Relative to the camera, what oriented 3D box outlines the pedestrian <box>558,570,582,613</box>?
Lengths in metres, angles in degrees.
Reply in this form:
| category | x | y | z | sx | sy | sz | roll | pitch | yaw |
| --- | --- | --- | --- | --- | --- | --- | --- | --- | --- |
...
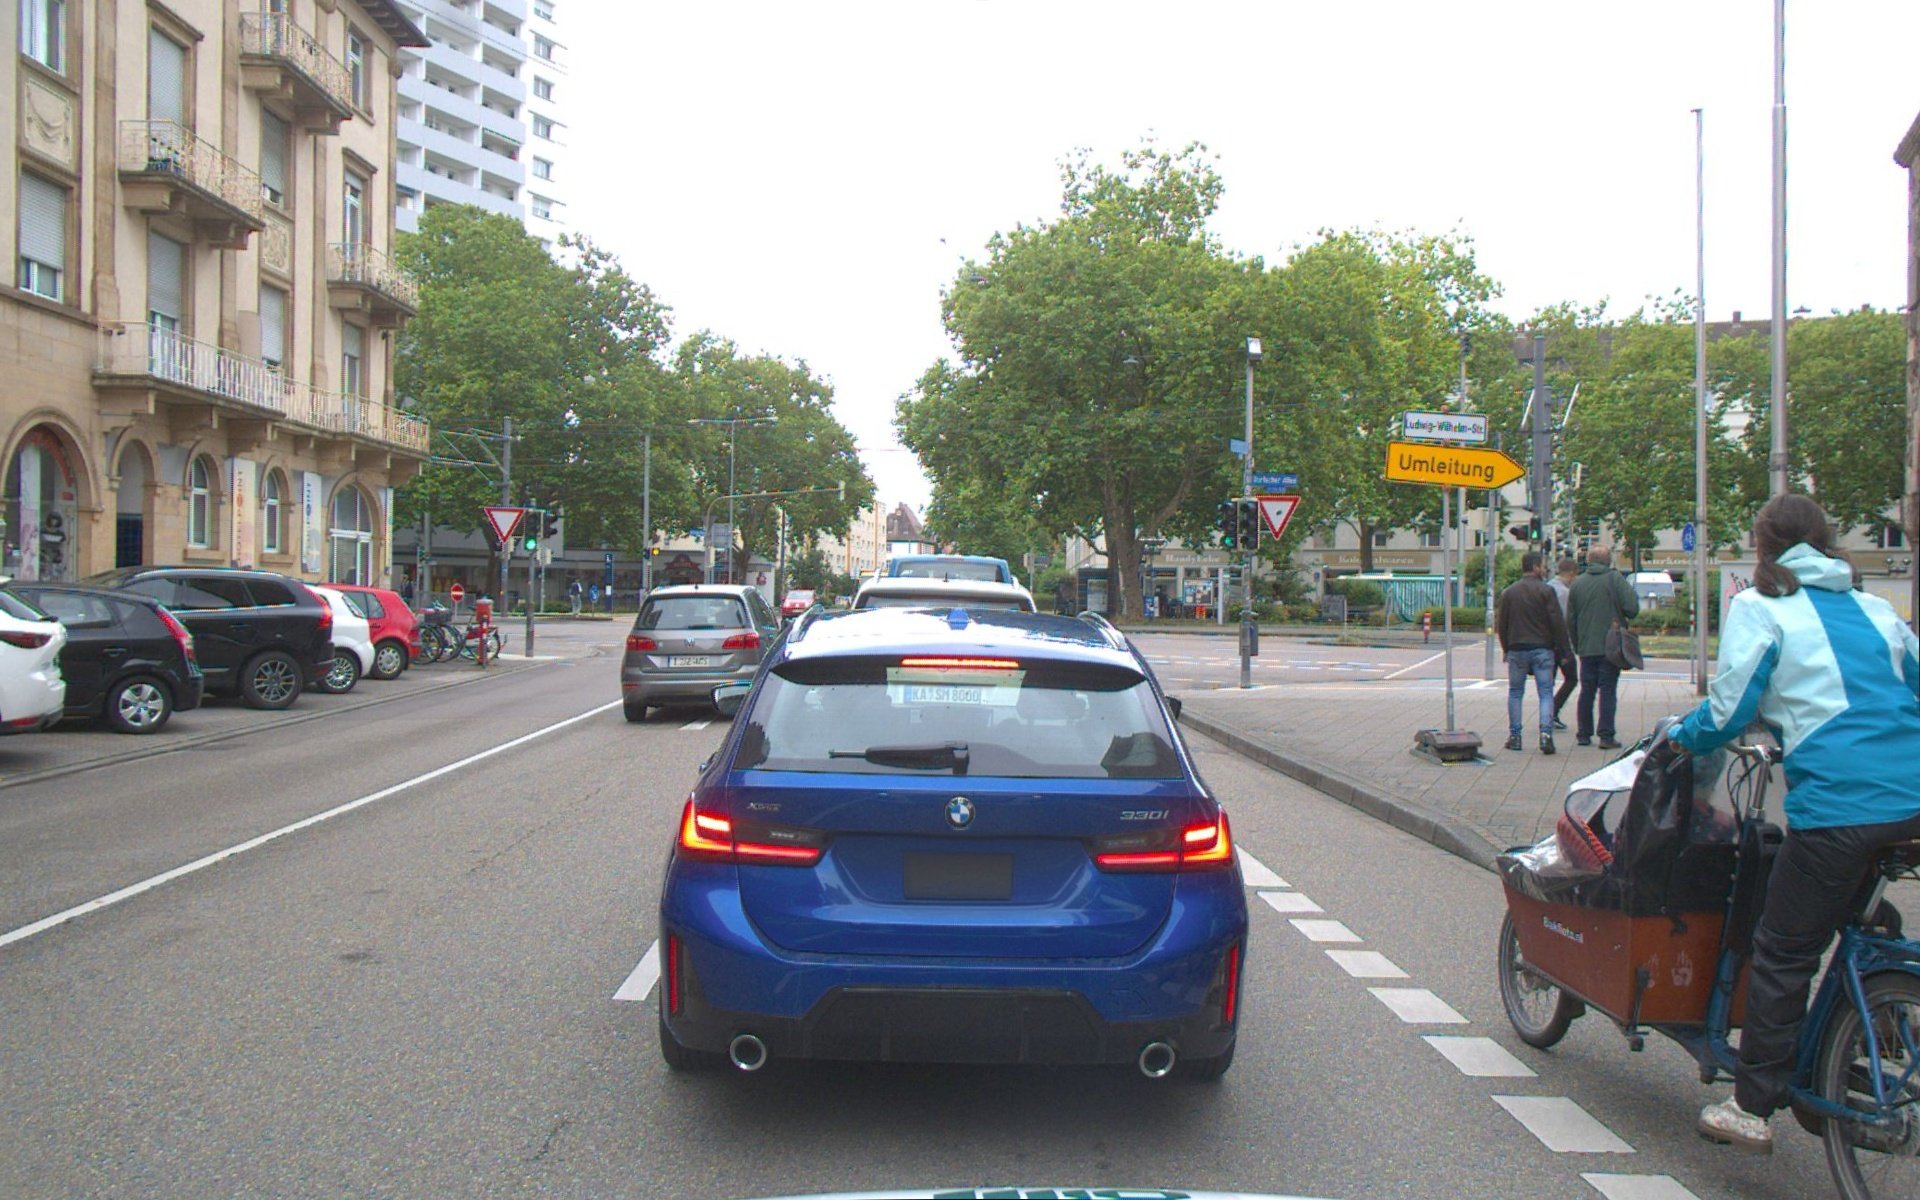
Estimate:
| category | x | y | z | sx | sy | sz | roll | pitch | yaw |
| --- | --- | --- | --- | --- | --- | --- | --- | --- | --- |
| pedestrian | -16.697 | -0.367 | 70.816 | 0.664 | 1.802 | 0.722 | 1 | 0 | 41 |

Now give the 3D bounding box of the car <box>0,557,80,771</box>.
| category | x | y | z | sx | sy | sz | roll | pitch | yaw |
| --- | --- | --- | --- | --- | --- | --- | --- | --- | --- |
| car | -9.595 | 0.487 | 13.706 | 3.937 | 1.754 | 1.826 | 1 | 0 | -26 |

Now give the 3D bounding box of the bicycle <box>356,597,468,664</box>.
| category | x | y | z | sx | sy | sz | roll | pitch | yaw |
| --- | --- | --- | --- | --- | --- | --- | --- | --- | --- |
| bicycle | -10.275 | 0.562 | 31.013 | 1.849 | 1.053 | 0.442 | 6 | 0 | -3 |

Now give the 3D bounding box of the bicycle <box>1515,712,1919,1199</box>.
| category | x | y | z | sx | sy | sz | roll | pitch | yaw |
| --- | --- | --- | --- | --- | --- | --- | --- | --- | --- |
| bicycle | 2.109 | 0.941 | 4.450 | 0.484 | 1.117 | 2.138 | 0 | 0 | -1 |

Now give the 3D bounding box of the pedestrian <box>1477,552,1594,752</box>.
| category | x | y | z | sx | sy | sz | roll | pitch | yaw |
| --- | --- | --- | --- | --- | --- | --- | --- | --- | --- |
| pedestrian | 5.157 | 0.446 | 14.858 | 0.660 | 1.715 | 0.969 | -2 | 0 | -1 |

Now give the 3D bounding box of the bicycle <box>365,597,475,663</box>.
| category | x | y | z | sx | sy | sz | roll | pitch | yaw |
| --- | --- | --- | --- | --- | --- | --- | --- | --- | --- |
| bicycle | -10.320 | 0.576 | 31.648 | 1.849 | 1.053 | 0.442 | 6 | 0 | -3 |

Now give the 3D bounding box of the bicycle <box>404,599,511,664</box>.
| category | x | y | z | sx | sy | sz | roll | pitch | yaw |
| --- | --- | --- | --- | --- | --- | --- | --- | --- | --- |
| bicycle | -9.777 | 0.617 | 32.205 | 1.849 | 1.053 | 0.442 | 6 | 0 | -3 |

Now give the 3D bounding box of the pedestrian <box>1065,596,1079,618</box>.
| category | x | y | z | sx | sy | sz | roll | pitch | yaw |
| --- | --- | --- | --- | --- | --- | --- | --- | --- | --- |
| pedestrian | 6.988 | 0.447 | 103.199 | 0.835 | 1.337 | 0.762 | 0 | 0 | -1 |

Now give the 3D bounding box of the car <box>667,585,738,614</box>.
| category | x | y | z | sx | sy | sz | roll | pitch | yaw |
| --- | --- | --- | --- | --- | --- | --- | --- | --- | --- |
| car | -16.161 | -0.001 | 103.883 | 3.953 | 1.736 | 1.976 | 1 | 0 | -35 |

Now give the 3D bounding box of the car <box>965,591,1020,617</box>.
| category | x | y | z | sx | sy | sz | roll | pitch | yaw |
| --- | --- | --- | --- | --- | --- | --- | --- | --- | --- |
| car | 2.257 | 0.278 | 114.134 | 3.802 | 1.771 | 1.762 | 0 | 0 | 2 |

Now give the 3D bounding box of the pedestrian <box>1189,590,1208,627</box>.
| category | x | y | z | sx | sy | sz | roll | pitch | yaw |
| --- | --- | --- | --- | --- | --- | --- | --- | --- | --- |
| pedestrian | 11.485 | 0.424 | 79.611 | 0.768 | 1.774 | 0.925 | 0 | 0 | -2 |

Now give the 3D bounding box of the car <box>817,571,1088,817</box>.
| category | x | y | z | sx | sy | sz | roll | pitch | yaw |
| --- | --- | --- | --- | --- | --- | --- | --- | --- | --- |
| car | -0.078 | 0.608 | 12.930 | 1.778 | 1.620 | 3.999 | 0 | 0 | -1 |

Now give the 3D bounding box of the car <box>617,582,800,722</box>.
| category | x | y | z | sx | sy | sz | roll | pitch | yaw |
| --- | --- | --- | --- | --- | --- | --- | --- | --- | --- |
| car | -2.999 | 0.566 | 20.467 | 1.697 | 1.551 | 3.999 | 0 | 0 | -1 |

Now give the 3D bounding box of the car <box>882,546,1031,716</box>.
| category | x | y | z | sx | sy | sz | roll | pitch | yaw |
| --- | --- | --- | --- | --- | --- | --- | --- | --- | --- |
| car | -0.072 | 0.362 | 21.964 | 1.778 | 2.040 | 3.999 | 0 | 0 | -1 |

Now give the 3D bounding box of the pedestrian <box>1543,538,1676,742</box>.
| category | x | y | z | sx | sy | sz | roll | pitch | yaw |
| --- | --- | --- | --- | --- | --- | --- | --- | --- | --- |
| pedestrian | 5.957 | 0.353 | 15.219 | 0.788 | 1.789 | 0.969 | -2 | 0 | -1 |

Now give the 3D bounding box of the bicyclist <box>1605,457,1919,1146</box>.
| category | x | y | z | sx | sy | sz | roll | pitch | yaw |
| --- | --- | --- | --- | --- | --- | --- | --- | --- | --- |
| bicyclist | 2.207 | 0.450 | 4.246 | 0.672 | 1.544 | 1.058 | 0 | 0 | -1 |

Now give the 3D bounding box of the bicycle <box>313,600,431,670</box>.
| category | x | y | z | sx | sy | sz | roll | pitch | yaw |
| --- | --- | --- | --- | --- | --- | --- | --- | --- | --- |
| bicycle | -10.300 | 0.610 | 28.999 | 1.848 | 1.053 | 0.442 | 5 | 0 | 2 |

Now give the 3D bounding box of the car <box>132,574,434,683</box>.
| category | x | y | z | sx | sy | sz | roll | pitch | yaw |
| --- | --- | --- | --- | --- | --- | --- | --- | --- | --- |
| car | -10.359 | 0.436 | 25.522 | 1.653 | 1.498 | 3.978 | 3 | 1 | 40 |

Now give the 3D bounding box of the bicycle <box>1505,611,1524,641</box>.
| category | x | y | z | sx | sy | sz | roll | pitch | yaw |
| --- | --- | --- | --- | --- | --- | --- | --- | --- | --- |
| bicycle | 19.594 | 0.897 | 58.399 | 0.540 | 1.013 | 2.061 | 0 | 0 | 21 |

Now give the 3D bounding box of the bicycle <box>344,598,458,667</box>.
| category | x | y | z | sx | sy | sz | roll | pitch | yaw |
| --- | --- | --- | --- | --- | --- | --- | --- | --- | --- |
| bicycle | -10.247 | 0.587 | 30.352 | 1.849 | 1.053 | 0.442 | 6 | 0 | -3 |

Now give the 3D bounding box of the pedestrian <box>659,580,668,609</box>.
| category | x | y | z | sx | sy | sz | roll | pitch | yaw |
| --- | --- | --- | --- | --- | --- | --- | --- | --- | --- |
| pedestrian | -18.228 | -0.349 | 101.692 | 0.561 | 1.802 | 0.513 | 0 | 0 | -13 |

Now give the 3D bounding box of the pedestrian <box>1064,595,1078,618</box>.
| category | x | y | z | sx | sy | sz | roll | pitch | yaw |
| --- | --- | --- | --- | --- | --- | --- | --- | --- | --- |
| pedestrian | 6.994 | 0.414 | 104.118 | 0.801 | 1.396 | 0.762 | 0 | 0 | -1 |

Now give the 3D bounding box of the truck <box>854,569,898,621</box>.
| category | x | y | z | sx | sy | sz | roll | pitch | yaw |
| --- | --- | --- | --- | --- | --- | --- | --- | --- | --- |
| truck | -4.054 | -0.274 | 80.118 | 2.033 | 2.450 | 5.460 | 0 | 1 | -3 |

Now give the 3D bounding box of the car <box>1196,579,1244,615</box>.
| category | x | y | z | sx | sy | sz | roll | pitch | yaw |
| --- | --- | --- | --- | --- | --- | --- | --- | --- | --- |
| car | 16.957 | -0.190 | 107.665 | 2.130 | 2.239 | 3.999 | 0 | 0 | 23 |

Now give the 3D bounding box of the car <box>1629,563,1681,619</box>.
| category | x | y | z | sx | sy | sz | roll | pitch | yaw |
| --- | --- | --- | --- | --- | --- | --- | --- | --- | --- |
| car | 34.823 | -0.468 | 82.783 | 2.191 | 2.685 | 5.443 | 1 | 0 | 25 |

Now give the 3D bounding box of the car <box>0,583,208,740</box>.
| category | x | y | z | sx | sy | sz | roll | pitch | yaw |
| --- | --- | --- | --- | --- | --- | --- | --- | --- | --- |
| car | -9.926 | 0.585 | 16.693 | 3.959 | 1.521 | 1.708 | 1 | 0 | -39 |

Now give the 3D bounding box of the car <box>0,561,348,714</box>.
| category | x | y | z | sx | sy | sz | roll | pitch | yaw |
| --- | --- | --- | --- | --- | --- | --- | --- | --- | --- |
| car | -9.827 | 0.431 | 20.032 | 4.192 | 1.680 | 1.704 | 1 | 0 | -44 |

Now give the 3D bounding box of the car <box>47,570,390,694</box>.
| category | x | y | z | sx | sy | sz | roll | pitch | yaw |
| --- | --- | --- | --- | --- | --- | --- | --- | --- | --- |
| car | -10.080 | 0.469 | 22.681 | 3.968 | 1.498 | 1.540 | 3 | 0 | -44 |

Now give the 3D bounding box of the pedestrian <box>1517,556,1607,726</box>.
| category | x | y | z | sx | sy | sz | roll | pitch | yaw |
| --- | --- | --- | --- | --- | --- | --- | --- | --- | --- |
| pedestrian | 6.245 | 0.413 | 17.191 | 0.619 | 1.702 | 0.970 | -2 | 0 | 6 |

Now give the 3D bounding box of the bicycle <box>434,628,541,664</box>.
| category | x | y | z | sx | sy | sz | roll | pitch | yaw |
| --- | --- | --- | --- | --- | --- | --- | --- | --- | --- |
| bicycle | -9.474 | 0.916 | 33.249 | 1.849 | 0.453 | 1.028 | 6 | 2 | -3 |

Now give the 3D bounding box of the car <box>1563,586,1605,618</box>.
| category | x | y | z | sx | sy | sz | roll | pitch | yaw |
| --- | --- | --- | --- | --- | --- | --- | --- | --- | --- |
| car | 30.765 | 0.100 | 81.525 | 1.632 | 1.542 | 3.935 | 1 | 0 | 25 |

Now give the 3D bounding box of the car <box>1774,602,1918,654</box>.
| category | x | y | z | sx | sy | sz | roll | pitch | yaw |
| --- | --- | --- | --- | --- | --- | --- | --- | --- | --- |
| car | 28.332 | 0.862 | 53.012 | 3.895 | 1.589 | 1.687 | 0 | 0 | 22 |

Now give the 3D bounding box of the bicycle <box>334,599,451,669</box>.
| category | x | y | z | sx | sy | sz | roll | pitch | yaw |
| --- | --- | --- | --- | --- | --- | --- | --- | --- | --- |
| bicycle | -10.225 | 0.608 | 29.817 | 1.849 | 1.053 | 0.442 | 6 | 0 | -3 |

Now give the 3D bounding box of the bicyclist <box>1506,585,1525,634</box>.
| category | x | y | z | sx | sy | sz | roll | pitch | yaw |
| --- | --- | --- | --- | --- | --- | --- | --- | --- | --- |
| bicyclist | 19.614 | 0.333 | 58.388 | 0.601 | 1.683 | 0.754 | 0 | 0 | 20 |

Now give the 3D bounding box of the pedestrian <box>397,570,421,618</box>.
| category | x | y | z | sx | sy | sz | roll | pitch | yaw |
| --- | --- | --- | --- | --- | --- | --- | --- | --- | --- |
| pedestrian | -20.755 | -0.214 | 62.269 | 0.661 | 1.802 | 0.726 | 0 | 0 | -1 |

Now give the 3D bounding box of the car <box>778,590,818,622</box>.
| category | x | y | z | sx | sy | sz | roll | pitch | yaw |
| --- | --- | --- | --- | --- | --- | --- | --- | --- | --- |
| car | -7.871 | 0.277 | 80.450 | 1.615 | 1.472 | 3.510 | 0 | 0 | -1 |

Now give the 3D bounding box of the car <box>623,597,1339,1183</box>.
| category | x | y | z | sx | sy | sz | roll | pitch | yaw |
| --- | --- | --- | --- | --- | --- | --- | --- | --- | --- |
| car | 0.026 | 0.720 | 6.282 | 1.778 | 1.430 | 4.319 | 0 | 0 | -1 |
